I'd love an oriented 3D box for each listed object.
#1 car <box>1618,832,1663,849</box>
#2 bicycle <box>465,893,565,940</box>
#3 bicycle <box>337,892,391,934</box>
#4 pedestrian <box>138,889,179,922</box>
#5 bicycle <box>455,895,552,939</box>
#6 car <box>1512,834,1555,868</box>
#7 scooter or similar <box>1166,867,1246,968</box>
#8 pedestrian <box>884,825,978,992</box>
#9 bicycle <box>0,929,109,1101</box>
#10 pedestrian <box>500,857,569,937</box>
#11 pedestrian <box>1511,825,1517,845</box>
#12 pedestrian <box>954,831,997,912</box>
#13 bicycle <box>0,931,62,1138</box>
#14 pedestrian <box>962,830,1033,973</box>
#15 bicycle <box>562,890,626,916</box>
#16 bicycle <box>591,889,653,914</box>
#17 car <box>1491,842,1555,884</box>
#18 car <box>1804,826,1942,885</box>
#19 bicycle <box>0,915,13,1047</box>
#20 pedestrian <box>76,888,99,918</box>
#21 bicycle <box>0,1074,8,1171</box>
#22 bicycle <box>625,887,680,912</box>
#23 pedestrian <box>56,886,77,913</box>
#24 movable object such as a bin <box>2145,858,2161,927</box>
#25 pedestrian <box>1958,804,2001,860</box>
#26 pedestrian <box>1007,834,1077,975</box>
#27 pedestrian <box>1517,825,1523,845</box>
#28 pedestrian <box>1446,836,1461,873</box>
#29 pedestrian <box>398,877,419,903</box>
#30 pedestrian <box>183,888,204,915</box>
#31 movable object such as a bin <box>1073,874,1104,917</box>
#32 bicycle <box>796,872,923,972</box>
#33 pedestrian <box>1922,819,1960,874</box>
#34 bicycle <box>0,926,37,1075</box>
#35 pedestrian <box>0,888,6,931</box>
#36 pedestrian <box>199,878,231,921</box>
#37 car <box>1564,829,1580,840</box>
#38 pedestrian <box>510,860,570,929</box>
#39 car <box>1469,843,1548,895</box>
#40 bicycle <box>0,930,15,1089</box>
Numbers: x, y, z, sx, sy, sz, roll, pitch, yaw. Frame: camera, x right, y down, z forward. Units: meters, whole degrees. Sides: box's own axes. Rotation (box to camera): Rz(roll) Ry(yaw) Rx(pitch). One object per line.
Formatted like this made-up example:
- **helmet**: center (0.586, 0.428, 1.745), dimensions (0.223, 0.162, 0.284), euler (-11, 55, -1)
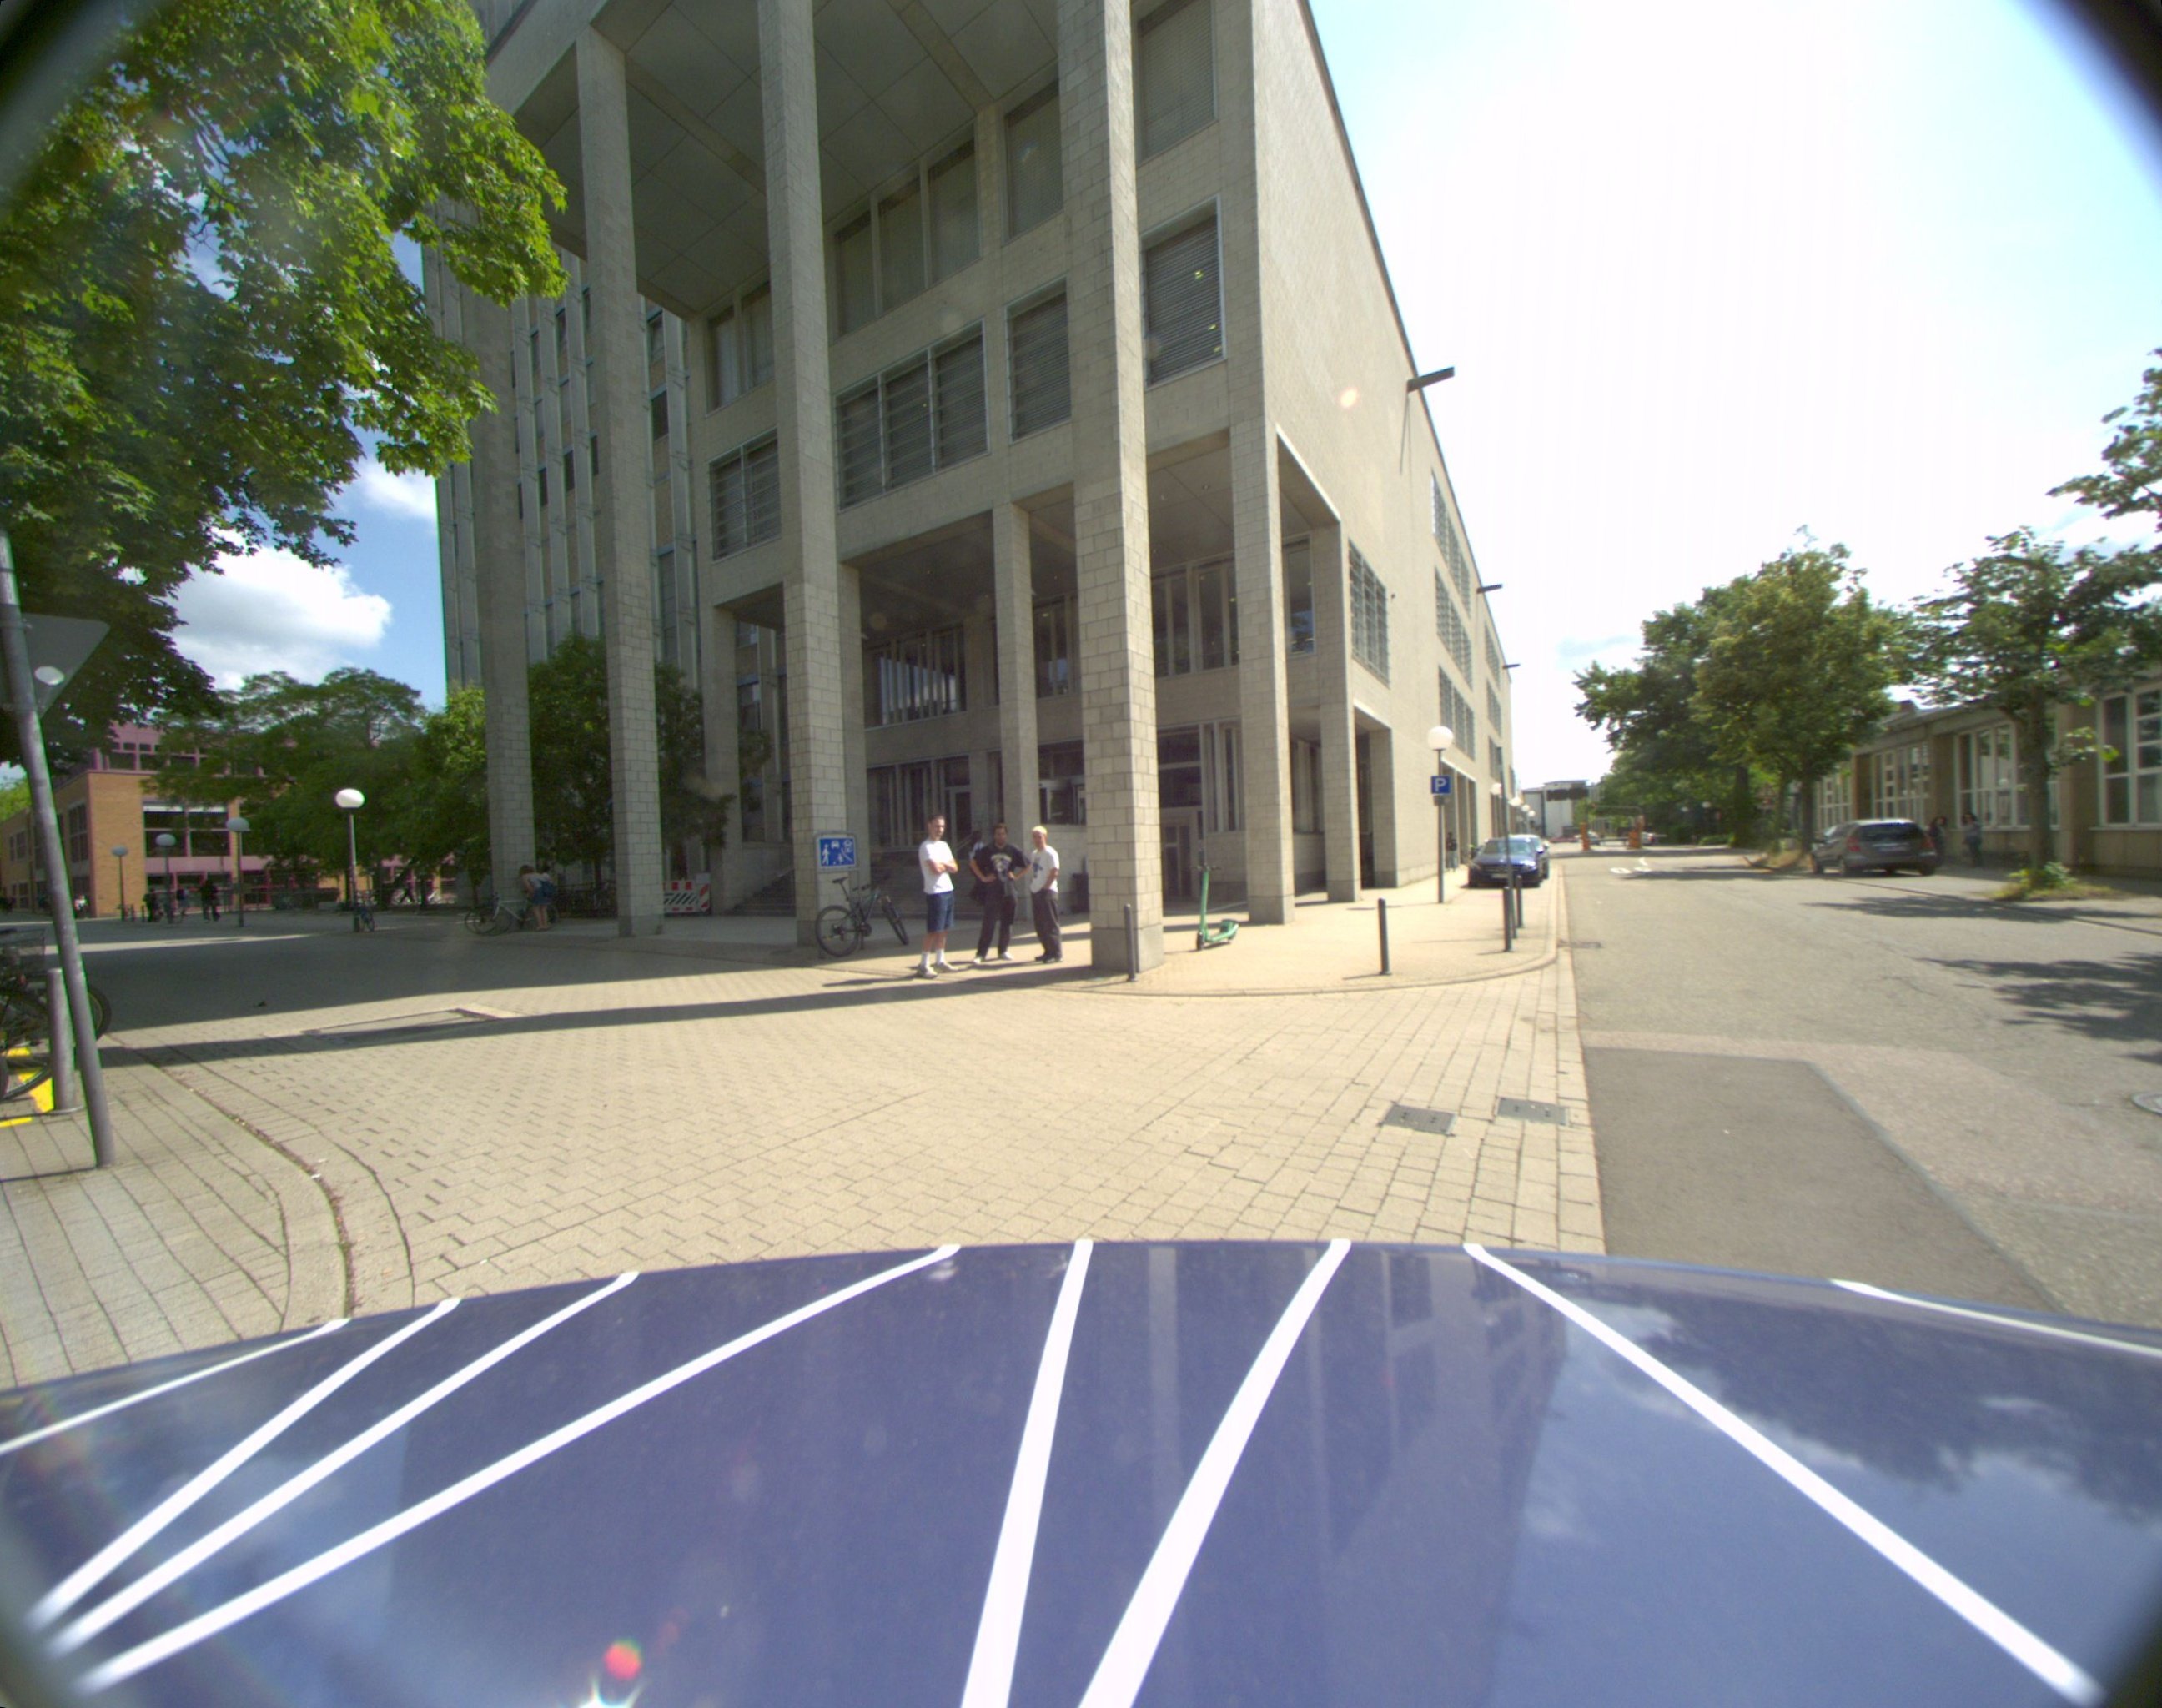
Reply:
- **car**: center (59.798, -1.420, 81.255), dimensions (3.667, 1.440, 1.808), euler (-5, -1, 31)
- **bicycle**: center (-12.949, 1.416, 17.436), dimensions (0.336, 0.894, 1.780), euler (-3, 1, 38)
- **bicycle**: center (-19.919, 1.637, 21.098), dimensions (1.829, 1.097, 0.571), euler (-3, -1, 30)
- **pedestrian**: center (-44.620, 2.482, 36.769), dimensions (0.730, 1.503, 1.204), euler (0, 2, -21)
- **bicycle**: center (-13.610, 1.467, 17.950), dimensions (1.780, 0.894, 0.447), euler (-2, 0, -39)
- **car**: center (23.825, -0.186, 39.964), dimensions (1.795, 1.692, 4.008), euler (2, 2, 32)
- **scooter or similar**: center (1.752, 0.828, 10.493), dimensions (0.563, 1.205, 1.513), euler (1, 3, 31)
- **pedestrian**: center (-1.769, 0.626, 9.034), dimensions (0.685, 1.880, 0.687), euler (-3, 2, 30)
- **bicycle**: center (-7.496, 1.097, 4.902), dimensions (0.459, 1.079, 1.443), euler (0, 1, 30)
- **pedestrian**: center (-12.387, 0.955, 17.251), dimensions (0.936, 1.730, 0.750), euler (-3, 1, 13)
- **pedestrian**: center (35.882, -1.583, 63.005), dimensions (0.382, 1.620, 0.520), euler (2, 2, 33)
- **pedestrian**: center (-2.395, 0.396, 17.330), dimensions (0.689, 1.727, 0.684), euler (-2, 9, 8)
- **bicycle**: center (-6.673, 1.057, 4.000), dimensions (0.560, 1.134, 1.492), euler (0, 1, 30)
- **pedestrian**: center (-1.113, 0.598, 10.033), dimensions (0.810, 1.787, 0.619), euler (-3, 2, -11)
- **bicycle**: center (-15.221, 1.516, 23.737), dimensions (1.985, 0.755, 0.645), euler (-1, 0, 22)
- **bicycle**: center (-14.727, 1.503, 24.370), dimensions (1.985, 0.755, 0.645), euler (-1, 0, 22)
- **car**: center (15.950, 0.285, 27.358), dimensions (1.839, 1.390, 3.885), euler (0, 1, 32)
- **car**: center (22.637, 0.010, 21.908), dimensions (1.800, 1.440, 3.683), euler (-5, -1, 31)
- **bicycle**: center (-10.149, 1.128, 6.155), dimensions (0.564, 1.119, 1.700), euler (0, 1, 38)
- **pedestrian**: center (-61.315, 3.023, 46.898), dimensions (0.972, 1.754, 0.745), euler (2, 2, 31)
- **bicycle**: center (-6.027, 1.053, 3.291), dimensions (0.560, 1.135, 1.492), euler (0, 3, 30)
- **bicycle**: center (-14.104, 1.492, 25.004), dimensions (1.984, 0.755, 0.645), euler (-1, 0, 30)
- **pedestrian**: center (-70.719, 3.179, 52.986), dimensions (0.972, 1.754, 0.745), euler (2, 2, 31)
- **movable object such as a bin**: center (15.870, 0.531, 10.179), dimensions (1.293, 0.979, 1.699), euler (-4, -1, 33)
- **pedestrian**: center (25.882, -0.633, 21.896), dimensions (0.604, 1.572, 0.552), euler (0, 2, 30)
- **pedestrian**: center (-0.498, 0.621, 9.687), dimensions (0.612, 1.719, 0.543), euler (-2, 2, 33)
- **pedestrian**: center (36.246, -1.574, 62.771), dimensions (0.382, 1.620, 0.520), euler (2, 2, 33)
- **pedestrian**: center (15.889, 0.016, 32.407), dimensions (0.549, 1.572, 0.606), euler (0, 2, 29)
- **pedestrian**: center (-47.336, 2.535, 53.485), dimensions (0.976, 1.754, 0.742), euler (-1, 2, -32)
- **pedestrian**: center (-51.572, 2.749, 44.157), dimensions (0.513, 1.503, 0.692), euler (2, 2, 31)
- **movable object such as a bin**: center (0.174, 0.959, 17.567), dimensions (0.512, 0.944, 0.513), euler (2, 2, 30)
- **bicycle**: center (-3.182, 0.939, 11.114), dimensions (0.530, 1.235, 1.832), euler (-1, 2, 31)
- **pedestrian**: center (25.127, -0.222, 22.201), dimensions (0.552, 1.572, 0.604), euler (-1, 2, -27)
- **bicycle**: center (-8.666, 1.121, 5.355), dimensions (0.480, 1.079, 1.518), euler (0, 1, 38)
- **pedestrian**: center (-45.085, 2.302, 31.481), dimensions (0.801, 1.754, 0.566), euler (2, 2, 33)
- **pedestrian**: center (-37.565, 1.956, 32.964), dimensions (0.745, 1.754, 0.972), euler (-1, 3, -41)
- **car**: center (85.502, -3.409, 132.346), dimensions (1.865, 1.959, 3.923), euler (1, 2, 27)
- **pedestrian**: center (-14.255, 1.049, 20.039), dimensions (0.936, 1.730, 0.750), euler (-3, 1, 14)
- **car**: center (12.865, 0.393, 22.765), dimensions (1.839, 1.390, 3.885), euler (0, 1, 32)
- **bicycle**: center (-8.091, 1.102, 4.844), dimensions (0.459, 1.079, 1.477), euler (0, 1, 33)
